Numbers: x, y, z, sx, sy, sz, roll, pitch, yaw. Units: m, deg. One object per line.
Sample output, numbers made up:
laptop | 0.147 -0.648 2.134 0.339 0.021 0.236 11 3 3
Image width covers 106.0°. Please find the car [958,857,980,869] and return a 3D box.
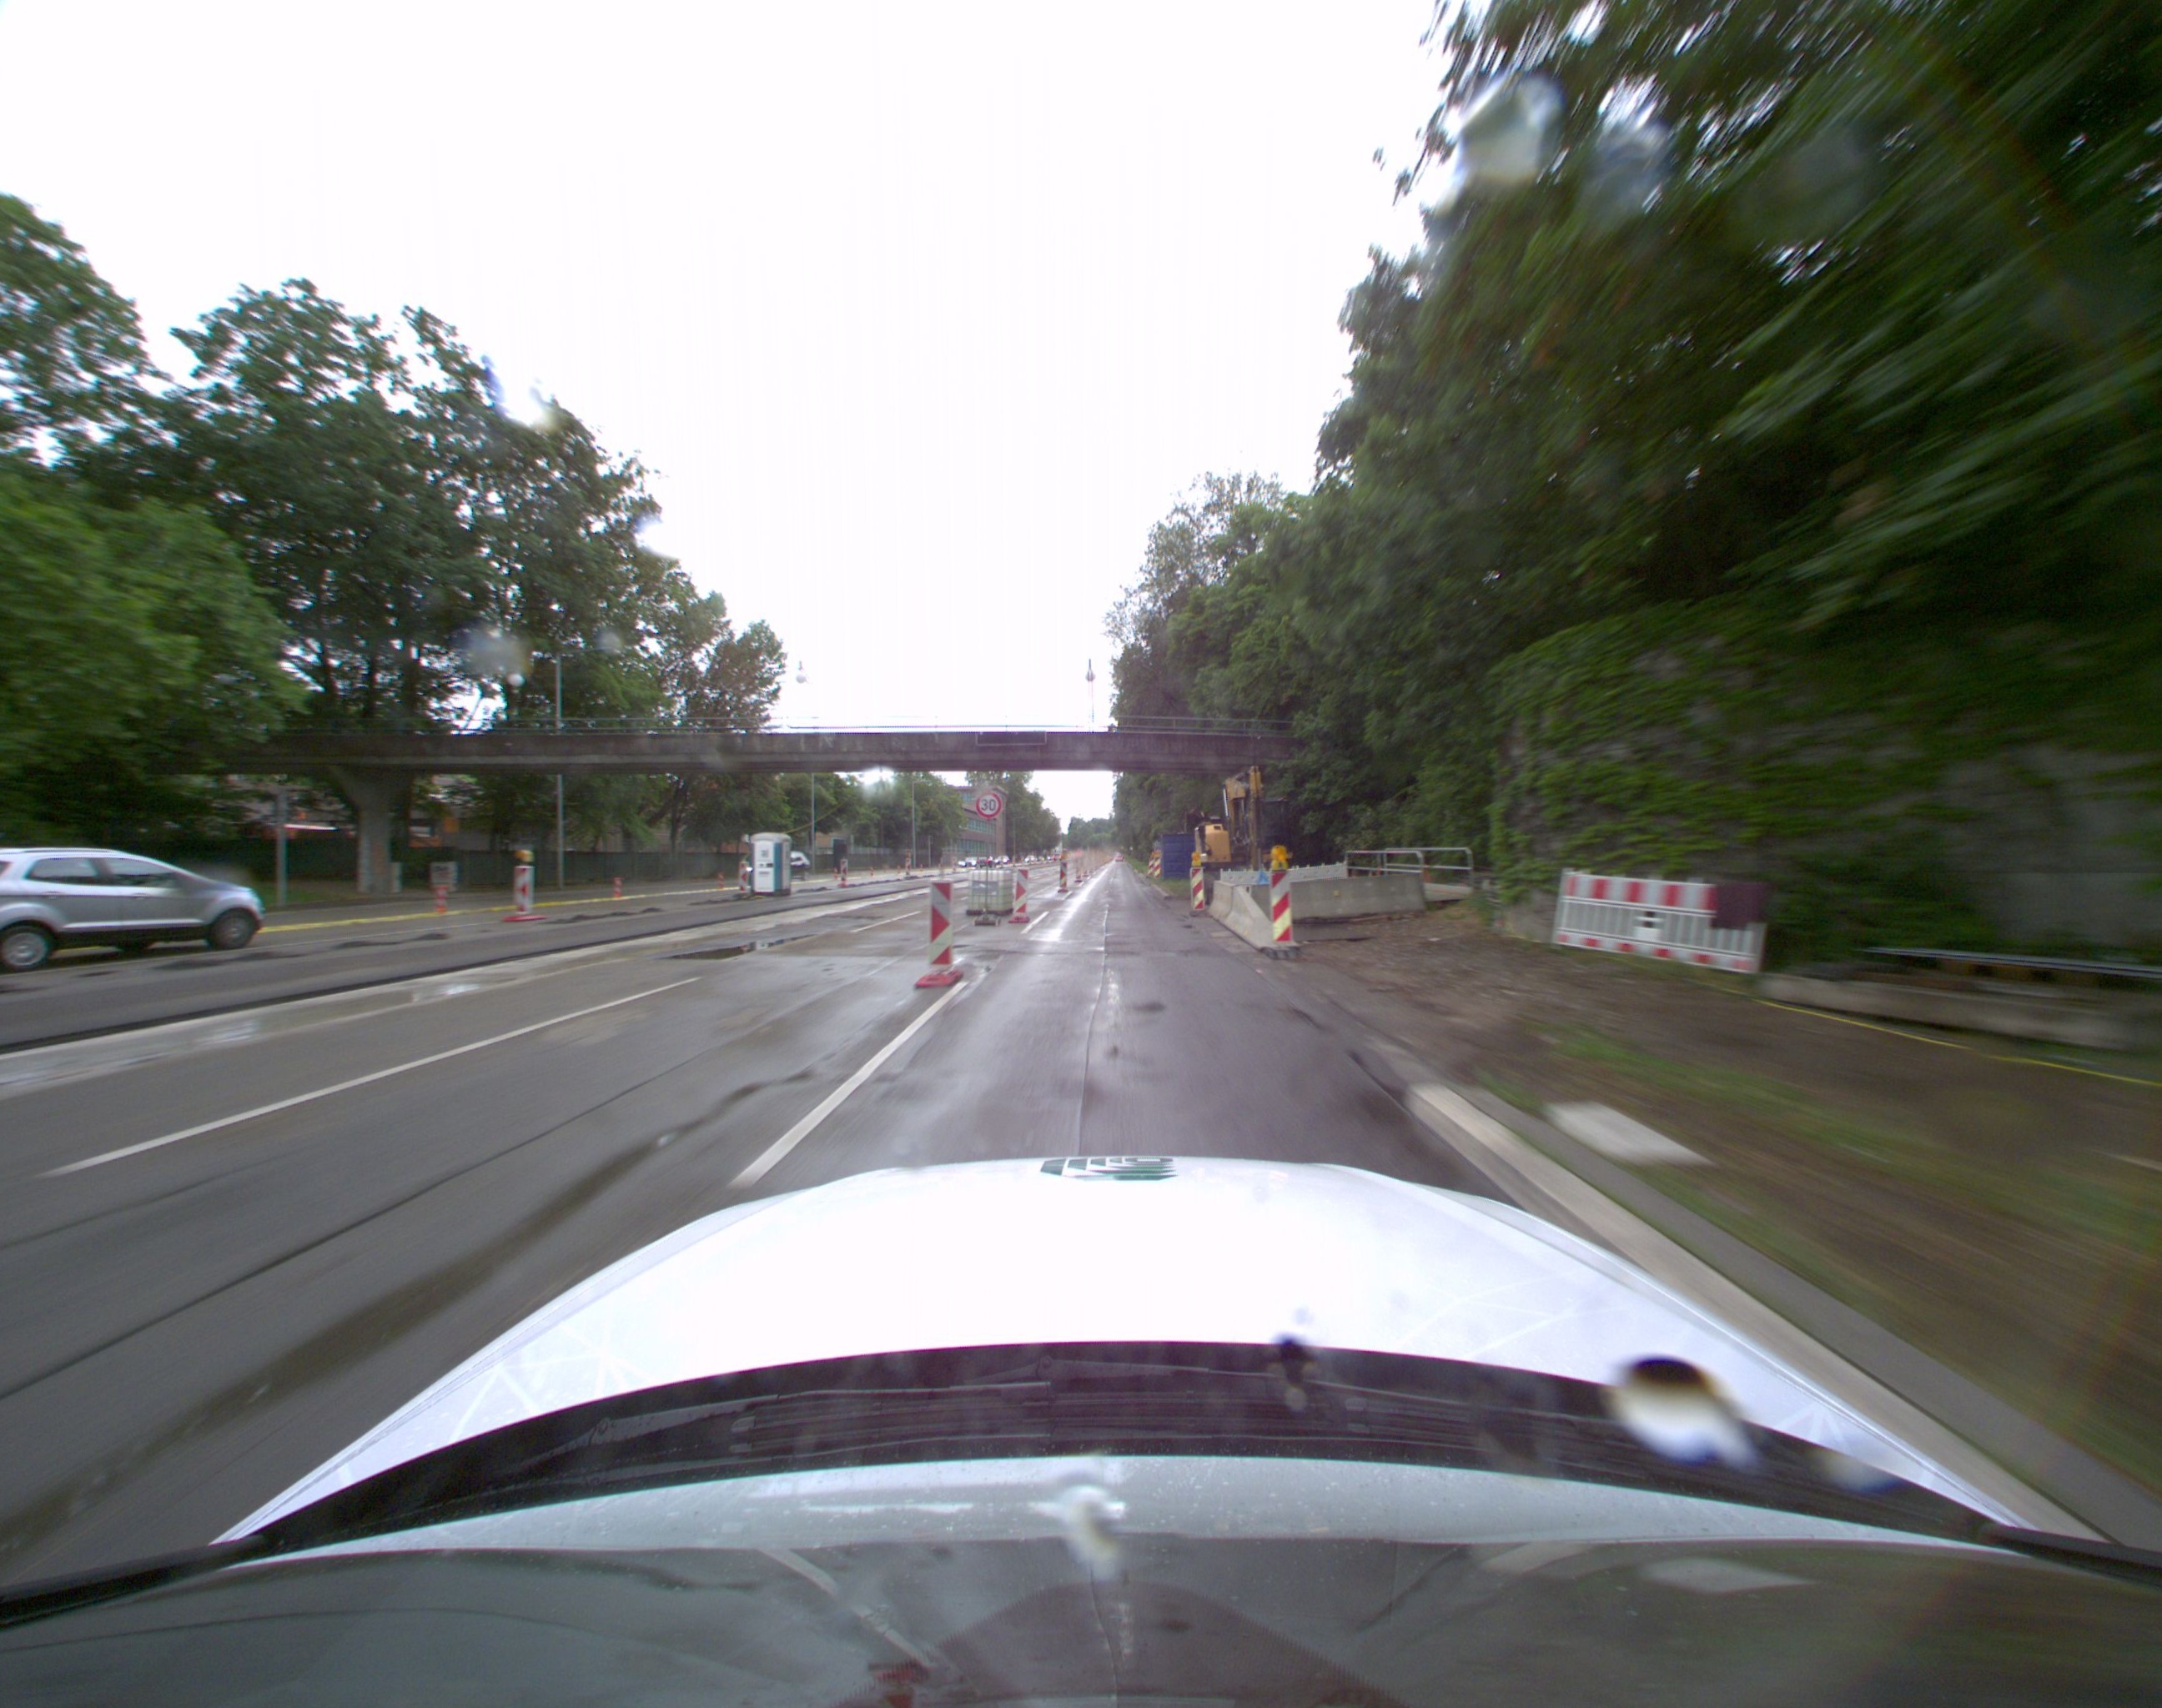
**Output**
car | -14.011 1.150 101.984 1.963 1.442 4.003 -2 -1 3

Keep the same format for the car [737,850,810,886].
car | -16.659 0.768 44.385 1.963 1.806 4.611 -2 -1 3

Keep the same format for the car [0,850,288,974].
car | -14.500 0.732 11.666 1.881 1.564 4.365 0 0 2

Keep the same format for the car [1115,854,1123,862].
car | 8.763 0.973 188.202 1.986 1.640 4.002 -2 -1 2
